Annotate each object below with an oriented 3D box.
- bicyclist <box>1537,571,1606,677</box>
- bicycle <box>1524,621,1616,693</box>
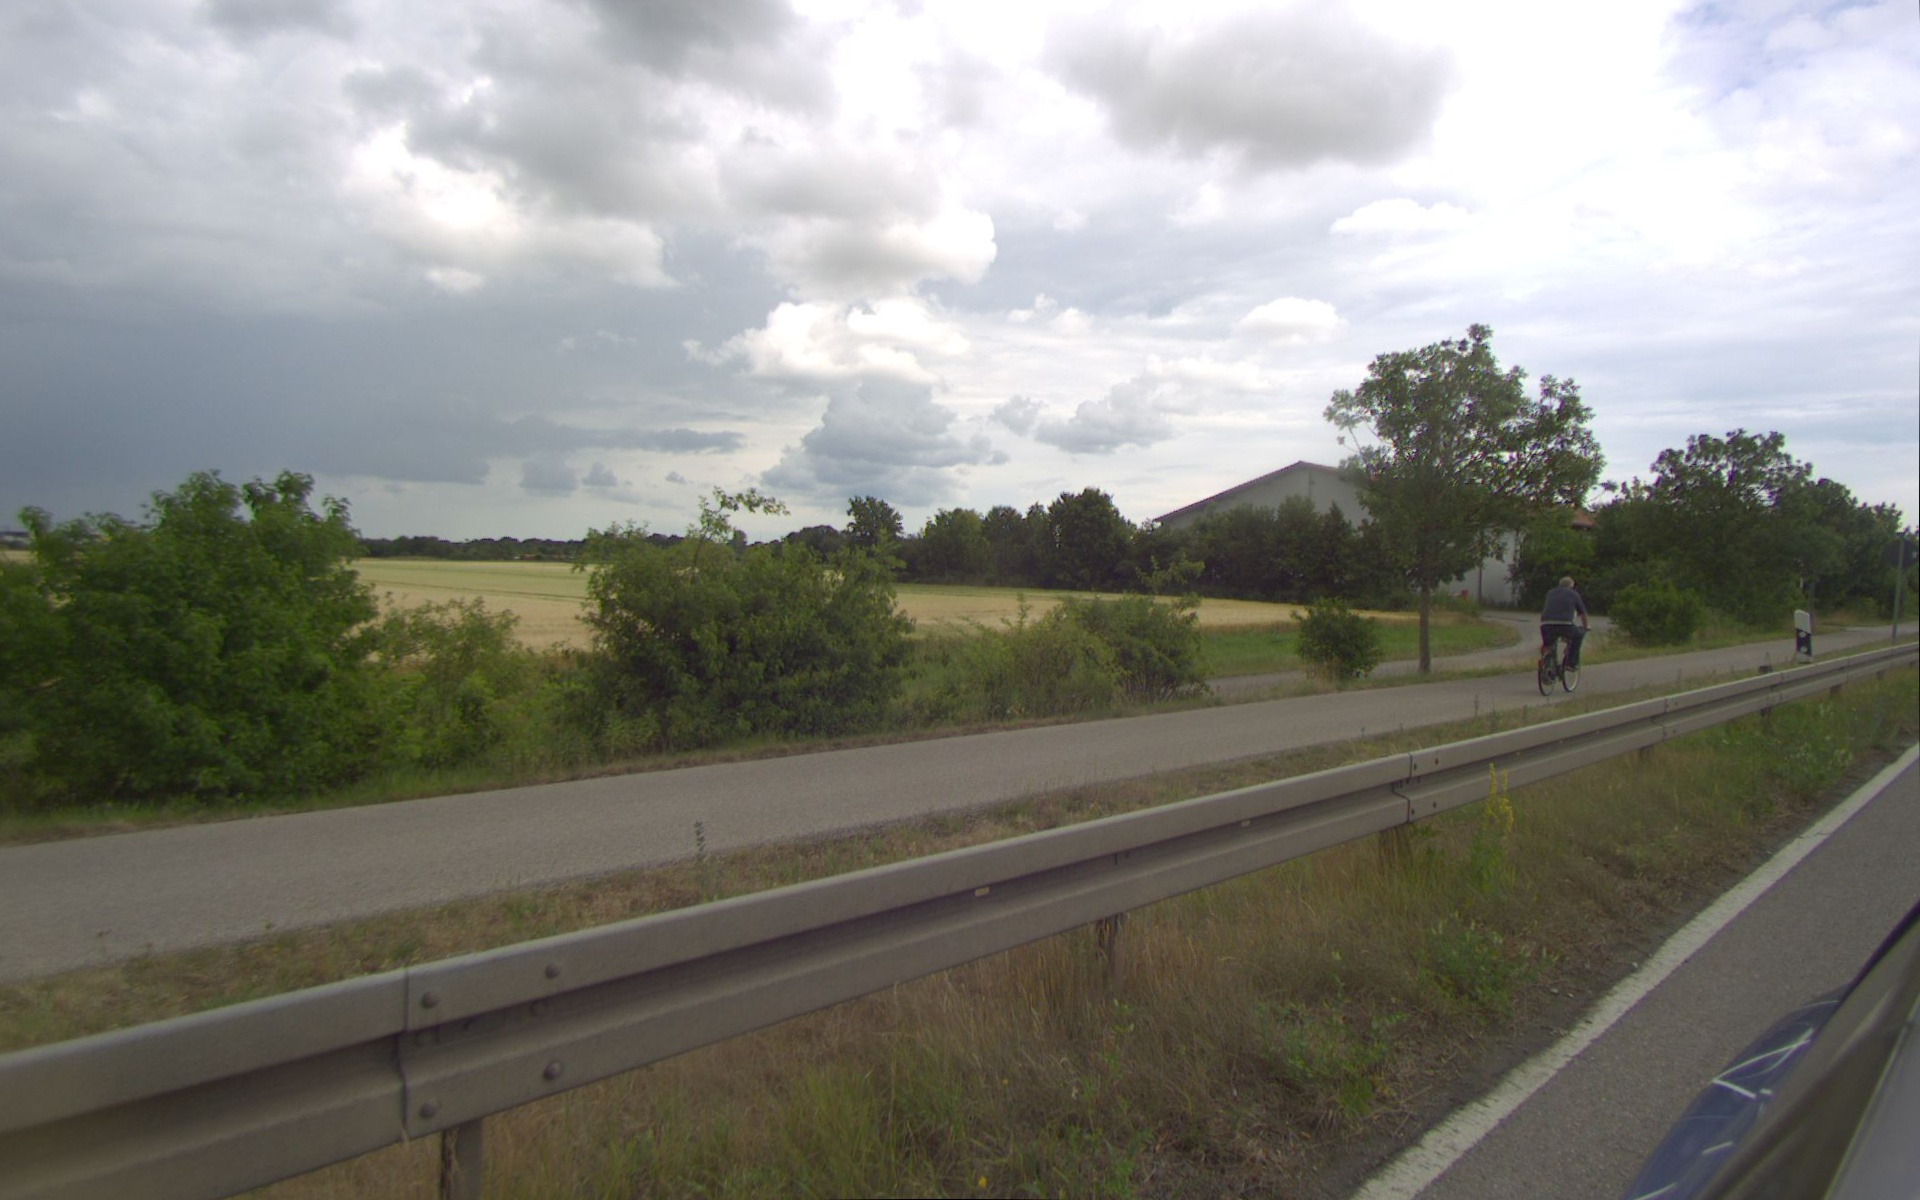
[{"bbox_3d":[9.569,0.348,15.829,0.952,1.602,0.640,0,1,-41],"label":"bicyclist"},{"bbox_3d":[9.574,0.866,15.851,2.036,0.990,0.640,0,2,-41],"label":"bicycle"}]
